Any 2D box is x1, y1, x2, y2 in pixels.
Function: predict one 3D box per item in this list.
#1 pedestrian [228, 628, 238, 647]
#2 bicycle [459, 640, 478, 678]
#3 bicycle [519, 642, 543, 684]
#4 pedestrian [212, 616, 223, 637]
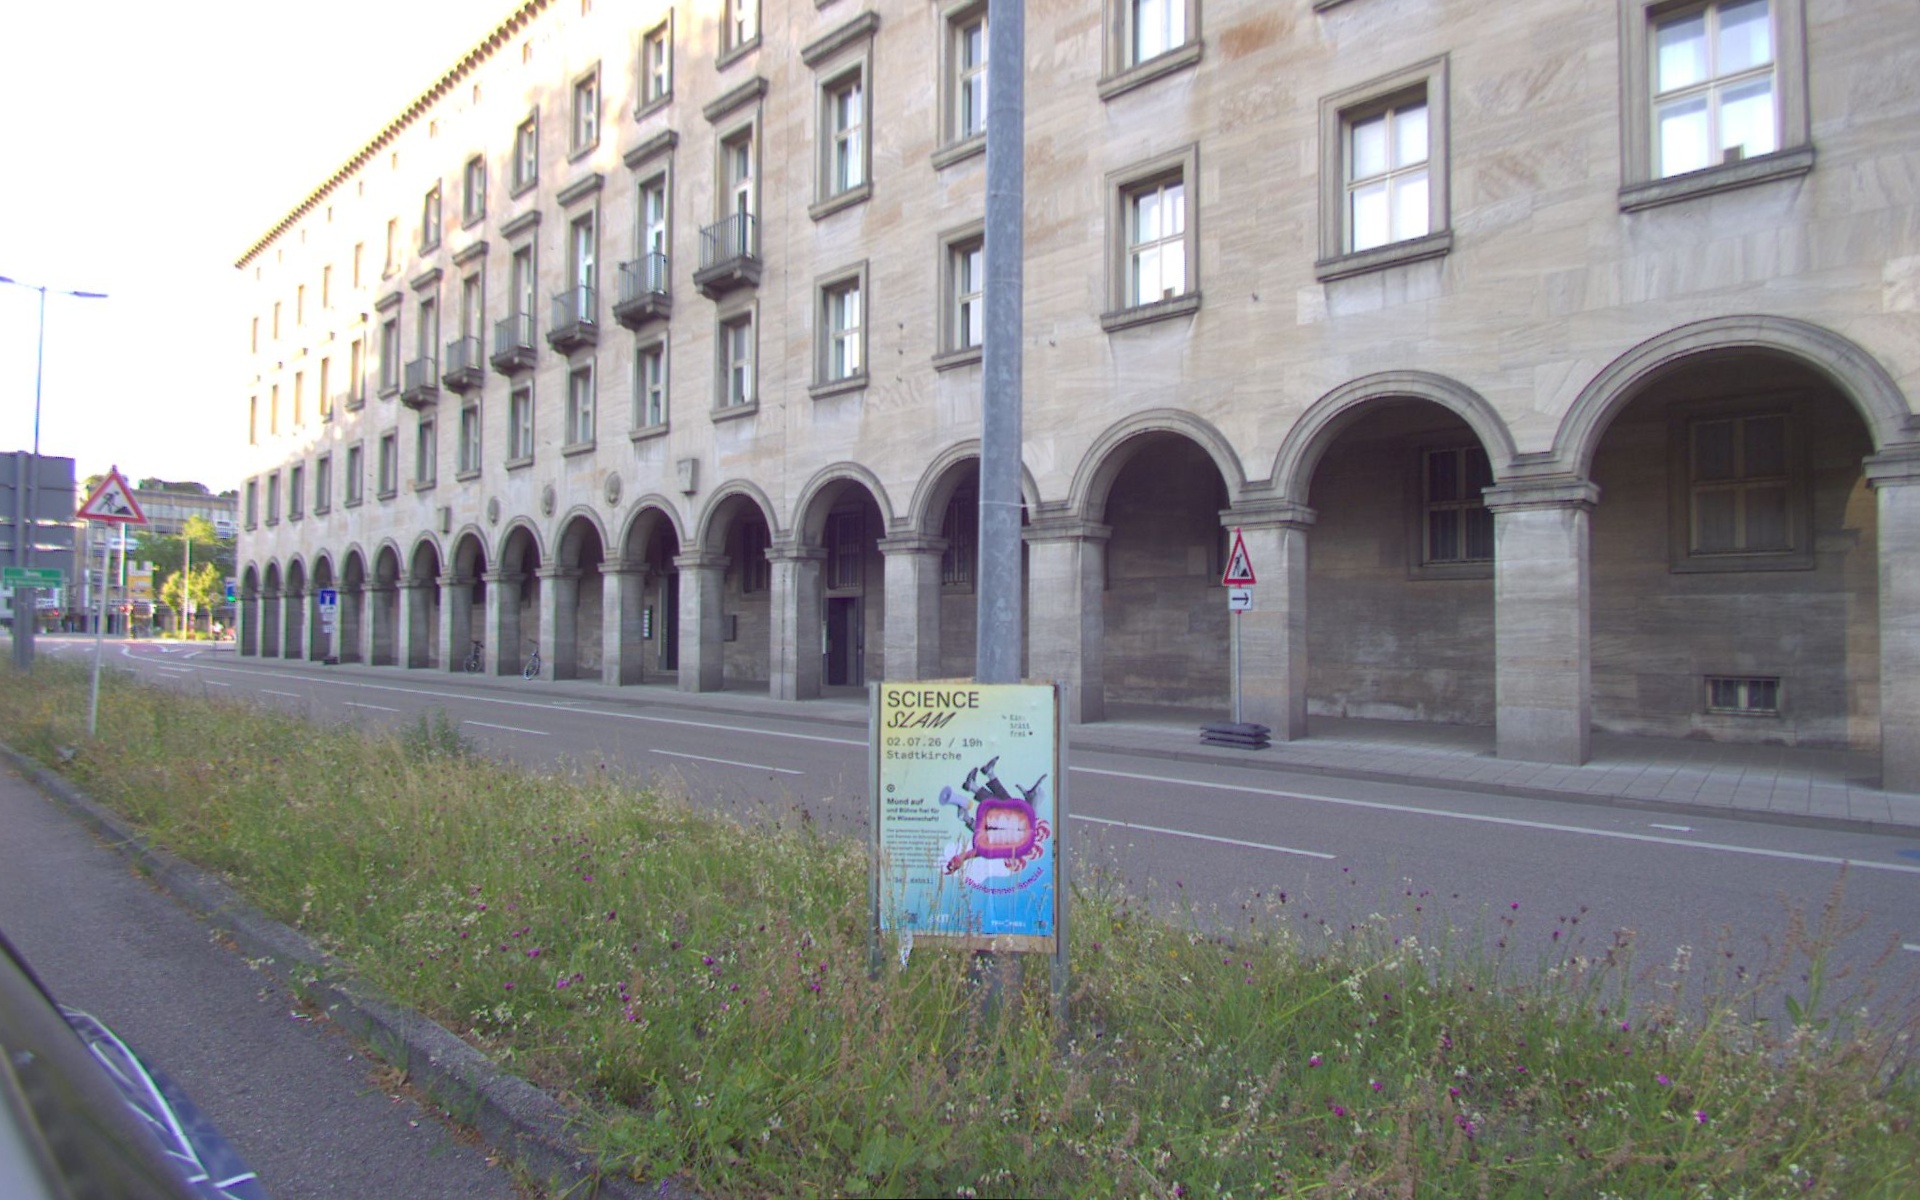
[{"bbox_3d":[-59.976,3.077,83.482,0.389,1.553,0.519,-2,-3,41],"label":"pedestrian"},{"bbox_3d":[-16.117,1.931,33.227,0.505,1.188,2.431,1,-2,-25],"label":"bicycle"},{"bbox_3d":[-12.716,1.846,30.055,0.505,1.130,2.431,1,-1,-20],"label":"bicycle"},{"bbox_3d":[-60.737,2.169,82.801,0.506,1.771,0.630,-2,-3,41],"label":"pedestrian"}]
